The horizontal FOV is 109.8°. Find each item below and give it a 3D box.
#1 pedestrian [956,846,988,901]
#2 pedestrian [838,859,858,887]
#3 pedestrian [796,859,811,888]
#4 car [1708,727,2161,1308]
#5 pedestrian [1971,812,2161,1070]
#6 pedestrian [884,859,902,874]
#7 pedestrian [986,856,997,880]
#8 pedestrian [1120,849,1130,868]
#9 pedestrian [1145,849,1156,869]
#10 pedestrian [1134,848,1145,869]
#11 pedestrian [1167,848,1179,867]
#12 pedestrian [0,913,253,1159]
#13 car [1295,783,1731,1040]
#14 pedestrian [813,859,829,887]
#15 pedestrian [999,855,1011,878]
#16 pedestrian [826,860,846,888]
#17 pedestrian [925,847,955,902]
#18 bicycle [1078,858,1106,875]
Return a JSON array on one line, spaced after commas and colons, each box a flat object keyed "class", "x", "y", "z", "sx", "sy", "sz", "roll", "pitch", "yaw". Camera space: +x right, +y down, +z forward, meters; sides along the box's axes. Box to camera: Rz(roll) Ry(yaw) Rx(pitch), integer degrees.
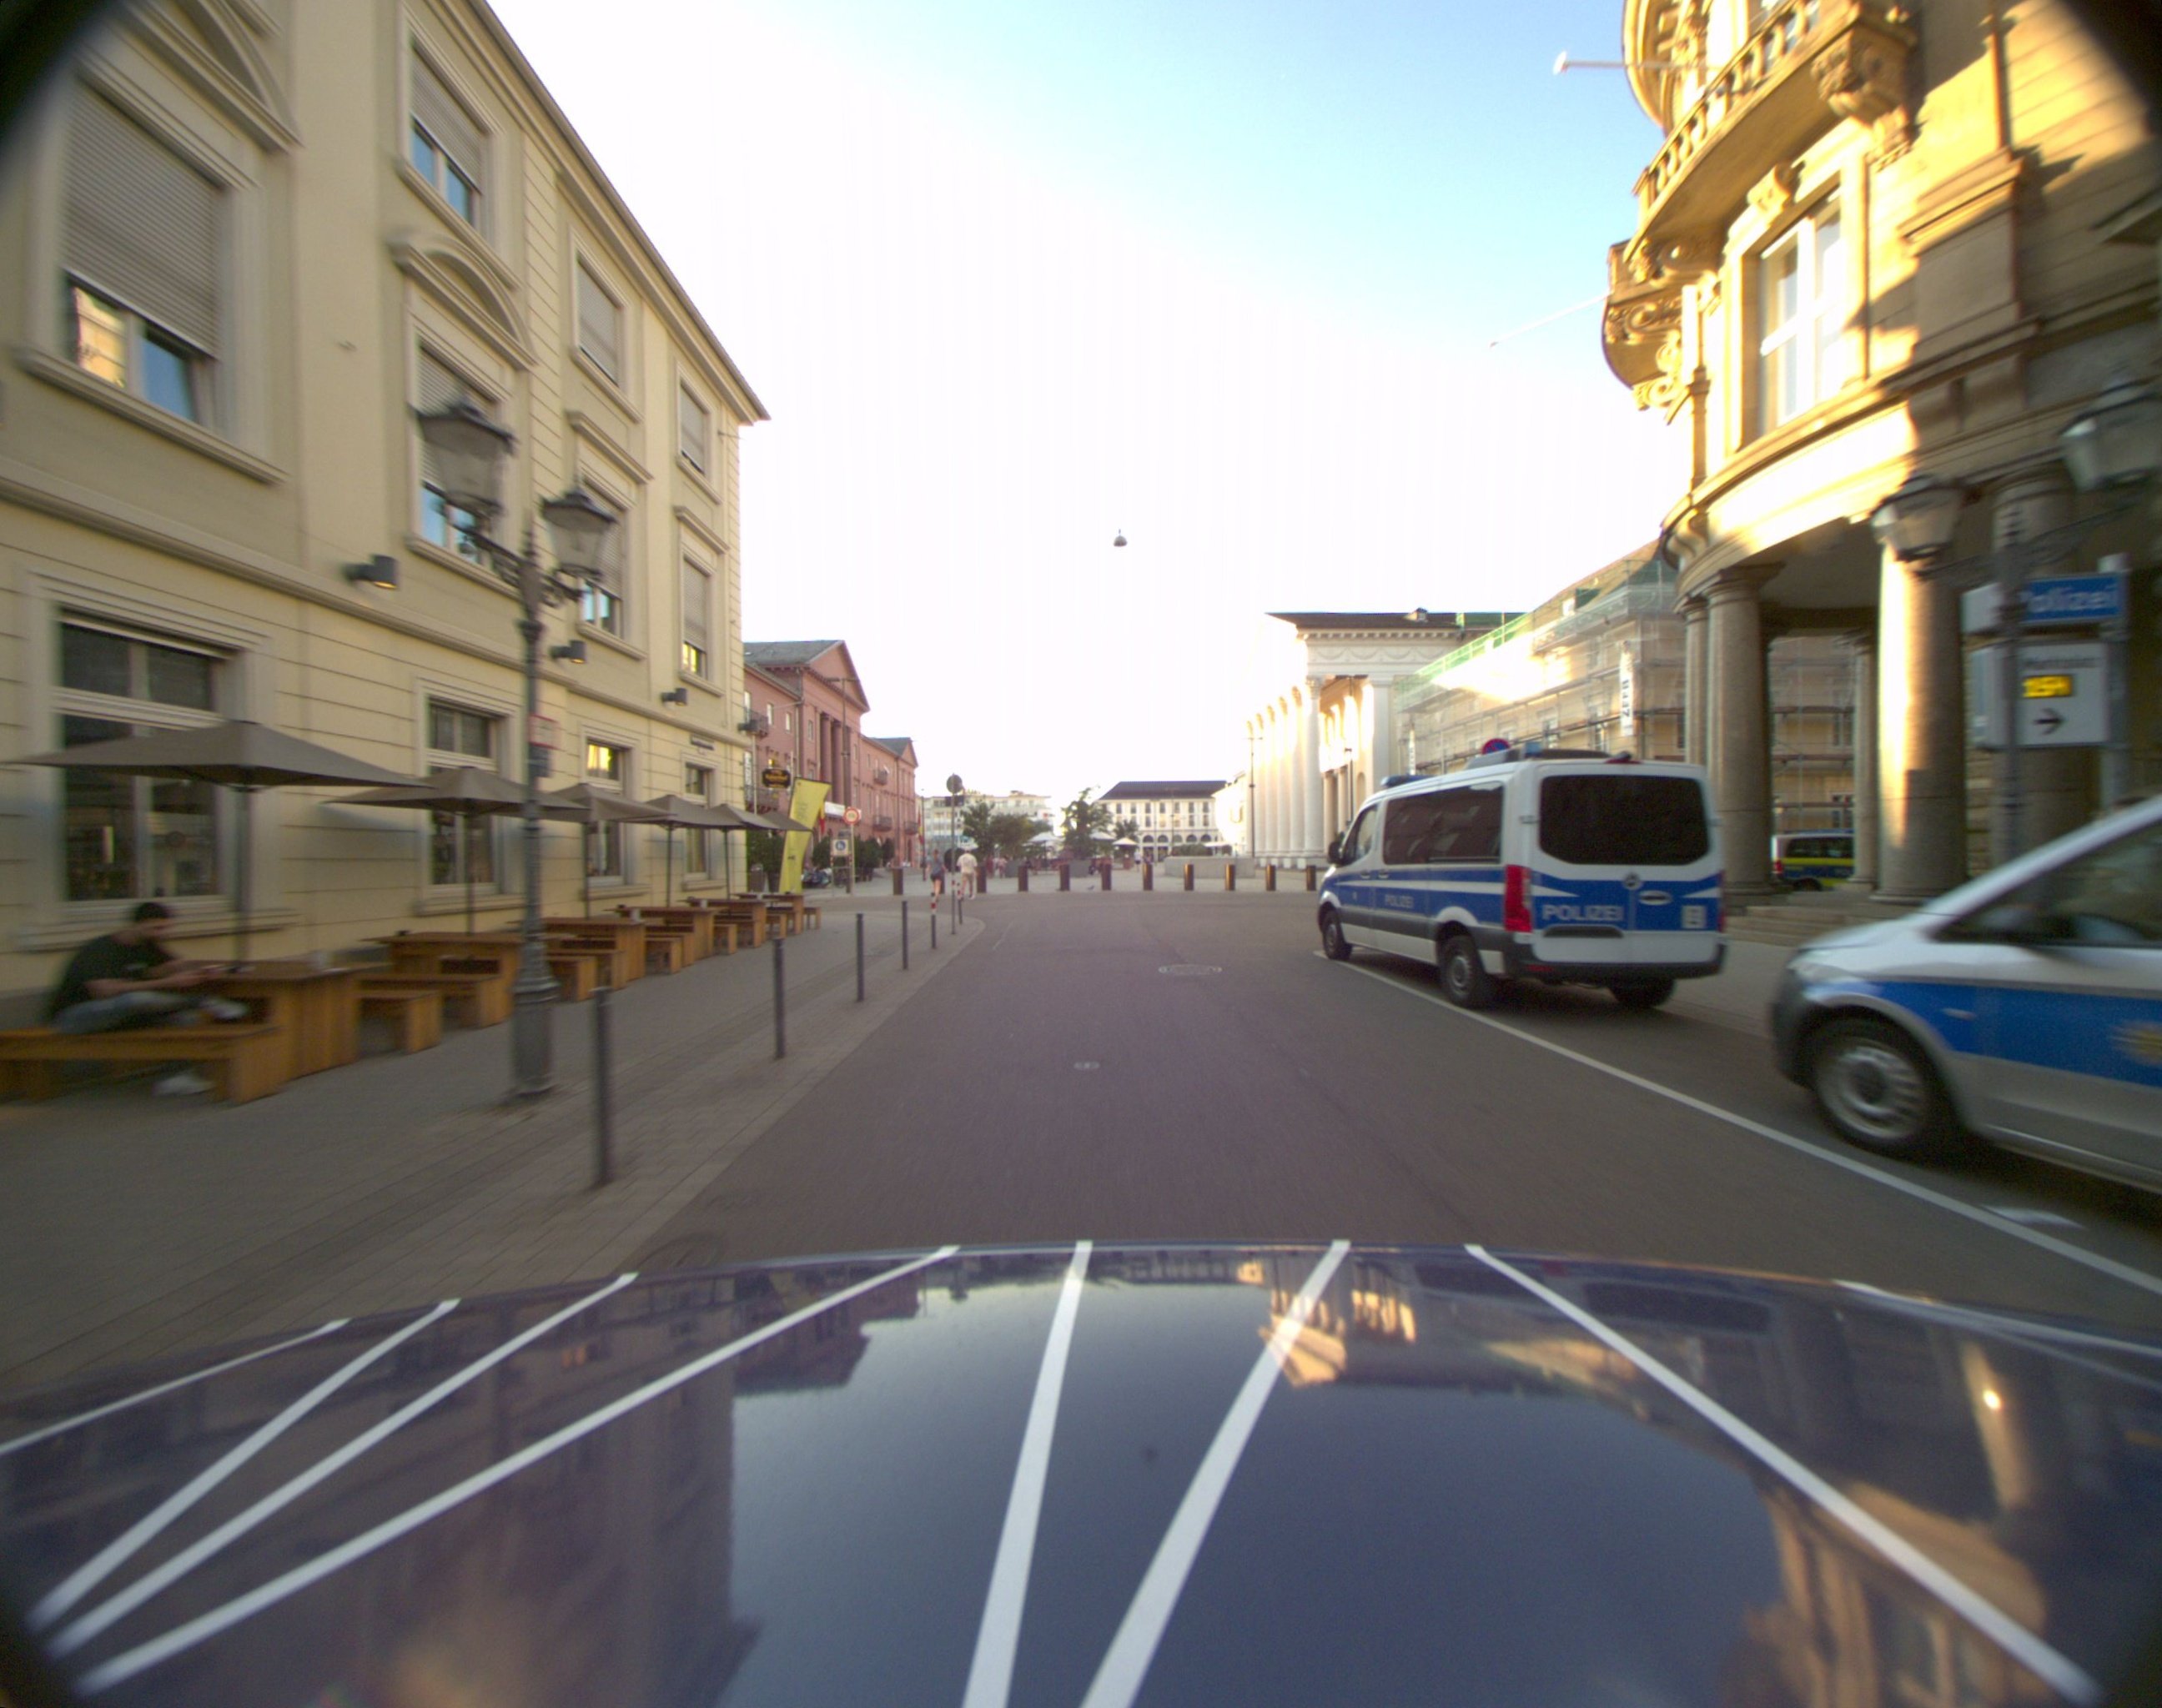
[{"class": "pedestrian", "x": -3.550, "y": 0.621, "z": 24.700, "sx": 0.667, "sy": 1.720, "sz": 0.767, "roll": 0, "pitch": 1, "yaw": 42}, {"class": "pedestrian", "x": -12.377, "y": 1.011, "z": 40.340, "sx": 0.828, "sy": 1.439, "sz": 0.585, "roll": 0, "pitch": 1, "yaw": 30}, {"class": "pedestrian", "x": -13.953, "y": 0.958, "z": 38.223, "sx": 0.585, "sy": 1.439, "sz": 0.829, "roll": -1, "pitch": 1, "yaw": -30}, {"class": "car", "x": 4.863, "y": 0.587, "z": 2.047, "sx": 1.999, "sy": 2.075, "sz": 5.206, "roll": 0, "pitch": 1, "yaw": -1}, {"class": "pedestrian", "x": 7.710, "y": 0.614, "z": 5.845, "sx": 0.654, "sy": 1.828, "sz": 0.911, "roll": -1, "pitch": 1, "yaw": -2}, {"class": "pedestrian", "x": -15.737, "y": 1.055, "z": 63.674, "sx": 1.405, "sy": 1.255, "sz": 1.325, "roll": -1, "pitch": 1, "yaw": -14}, {"class": "pedestrian", "x": -5.947, "y": 0.934, "z": 50.523, "sx": 0.684, "sy": 1.557, "sz": 0.652, "roll": -1, "pitch": 1, "yaw": -3}, {"class": "pedestrian", "x": 4.107, "y": 0.443, "z": 70.875, "sx": 0.856, "sy": 1.720, "sz": 0.881, "roll": -1, "pitch": 1, "yaw": 2}, {"class": "pedestrian", "x": 5.868, "y": 0.423, "z": 63.824, "sx": 0.856, "sy": 1.720, "sz": 0.881, "roll": -1, "pitch": 1, "yaw": 2}, {"class": "pedestrian", "x": 4.962, "y": 0.386, "z": 64.404, "sx": 0.856, "sy": 1.720, "sz": 0.881, "roll": -1, "pitch": 1, "yaw": 2}, {"class": "pedestrian", "x": 9.320, "y": 0.321, "z": 77.027, "sx": 1.091, "sy": 1.900, "sz": 0.881, "roll": -1, "pitch": 1, "yaw": 2}, {"class": "pedestrian", "x": -6.082, "y": 1.093, "z": 4.858, "sx": 0.777, "sy": 1.351, "sz": 0.723, "roll": -1, "pitch": 1, "yaw": -17}, {"class": "car", "x": 4.441, "y": 0.474, "z": 9.077, "sx": 1.999, "sy": 2.158, "sz": 5.205, "roll": -1, "pitch": 0, "yaw": -4}, {"class": "pedestrian", "x": -13.315, "y": 0.955, "z": 38.906, "sx": 0.585, "sy": 1.439, "sz": 0.829, "roll": -1, "pitch": 1, "yaw": -30}, {"class": "pedestrian", "x": -5.070, "y": 0.814, "z": 50.687, "sx": 0.684, "sy": 1.550, "sz": 0.652, "roll": -1, "pitch": 1, "yaw": -3}, {"class": "pedestrian", "x": -12.761, "y": 1.021, "z": 39.583, "sx": 0.828, "sy": 1.439, "sz": 0.585, "roll": 0, "pitch": 1, "yaw": 32}, {"class": "pedestrian", "x": -4.520, "y": 0.647, "z": 24.389, "sx": 0.607, "sy": 1.720, "sz": 0.719, "roll": 0, "pitch": 1, "yaw": 42}, {"class": "bicycle", "x": 0.723, "y": 0.835, "z": 51.528, "sx": 1.683, "sy": 1.115, "sz": 0.846, "roll": -1, "pitch": 1, "yaw": 33}]
